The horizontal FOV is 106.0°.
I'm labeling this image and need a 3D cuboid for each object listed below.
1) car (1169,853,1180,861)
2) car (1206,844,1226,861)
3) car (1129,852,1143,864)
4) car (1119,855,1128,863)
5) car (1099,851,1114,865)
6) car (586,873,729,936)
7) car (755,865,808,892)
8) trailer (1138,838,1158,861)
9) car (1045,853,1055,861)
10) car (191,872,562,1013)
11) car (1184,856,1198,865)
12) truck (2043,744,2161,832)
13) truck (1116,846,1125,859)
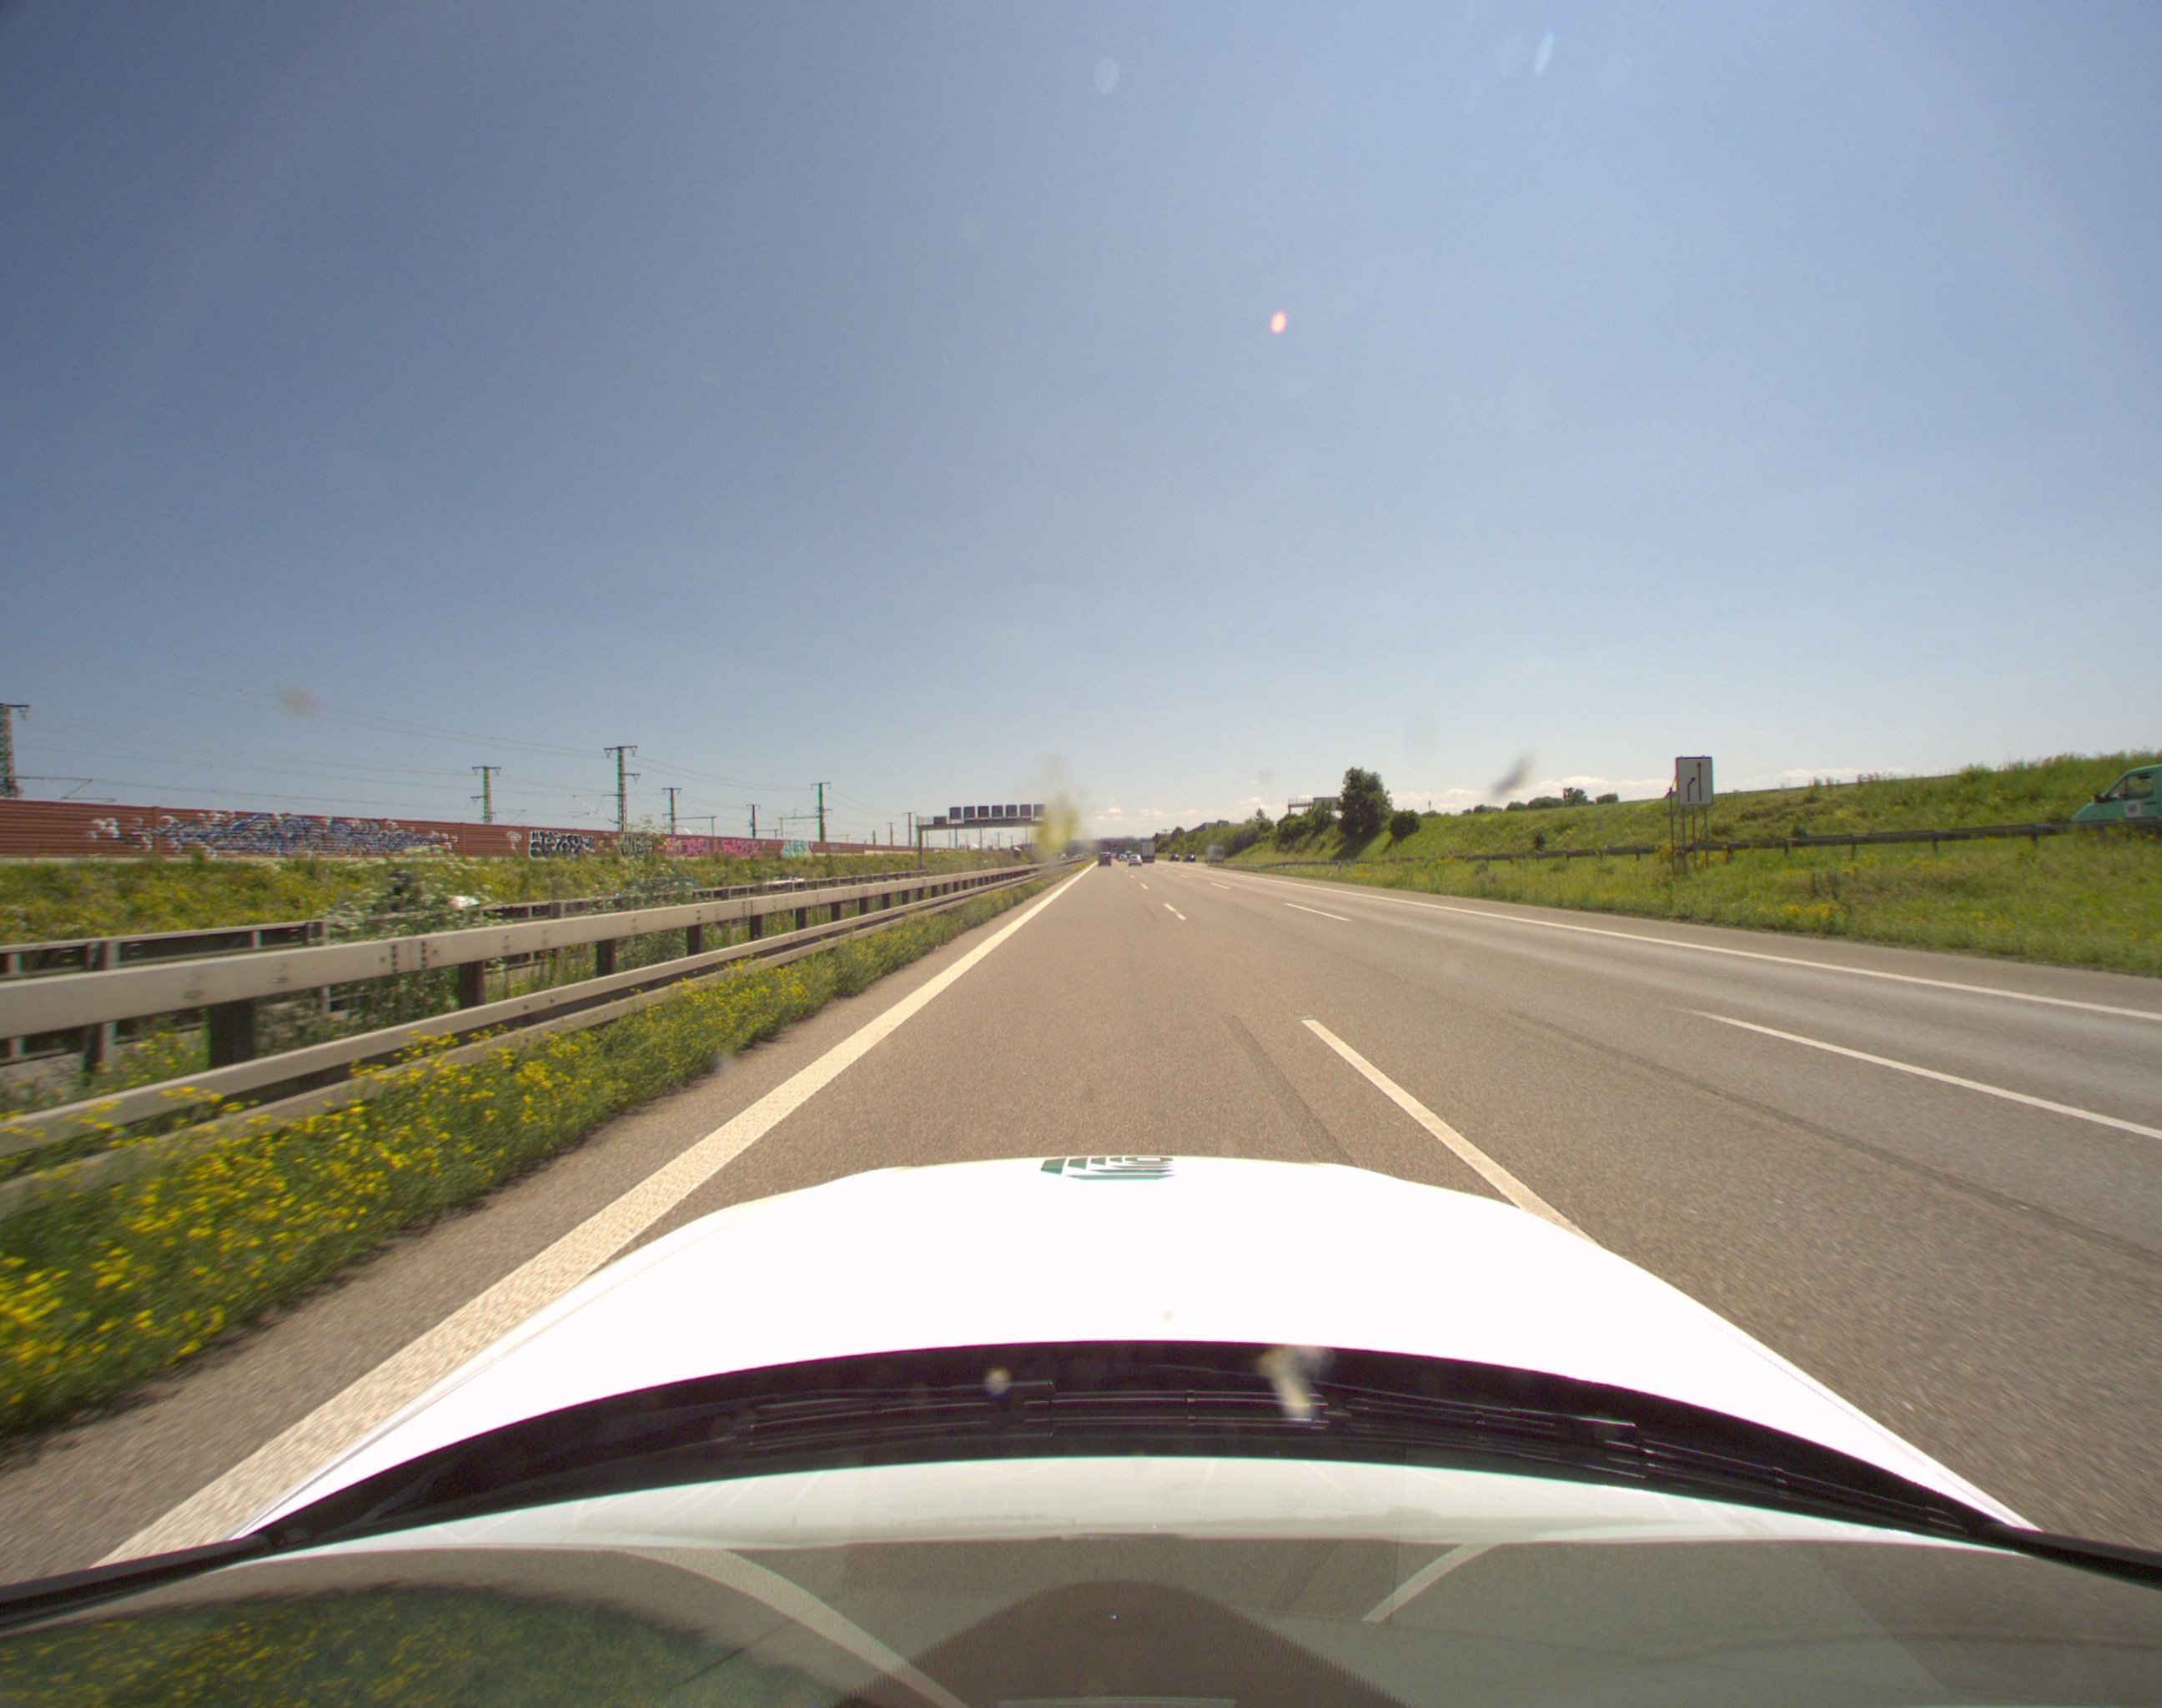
[{"bbox_3d":[19.094,0.695,166.511,1.986,1.596,4.000,0,-1,1],"label":"car"},{"bbox_3d":[21.099,-0.190,127.232,2.266,2.528,5.400,-1,0,1],"label":"car"},{"bbox_3d":[7.540,0.597,111.024,1.872,1.526,4.005,-1,-1,5],"label":"car"},{"bbox_3d":[9.270,1.086,177.988,1.873,1.526,4.003,-1,-1,3],"label":"car"},{"bbox_3d":[3.503,0.582,111.115,1.873,1.775,4.002,-2,-1,2],"label":"car"},{"bbox_3d":[-11.542,1.315,22.524,1.809,1.479,3.844,-1,0,2],"label":"car"},{"bbox_3d":[-18.540,1.495,50.560,1.714,1.544,3.811,-1,0,2],"label":"car"},{"bbox_3d":[12.364,-0.843,151.407,3.165,4.059,9.444,-2,0,2],"label":"trailer"},{"bbox_3d":[-7.053,0.675,184.873,1.797,1.574,4.002,-1,0,2],"label":"car"},{"bbox_3d":[-9.219,1.047,11.151,1.639,1.479,3.816,-1,0,2],"label":"car"},{"bbox_3d":[19.757,1.138,146.252,1.987,1.508,3.998,0,-1,-1],"label":"car"},{"bbox_3d":[27.697,-1.693,19.382,2.160,2.092,6.109,-2,0,-4],"label":"truck"},{"bbox_3d":[10.778,-0.310,220.365,2.346,3.416,6.060,-1,0,2],"label":"truck"}]
